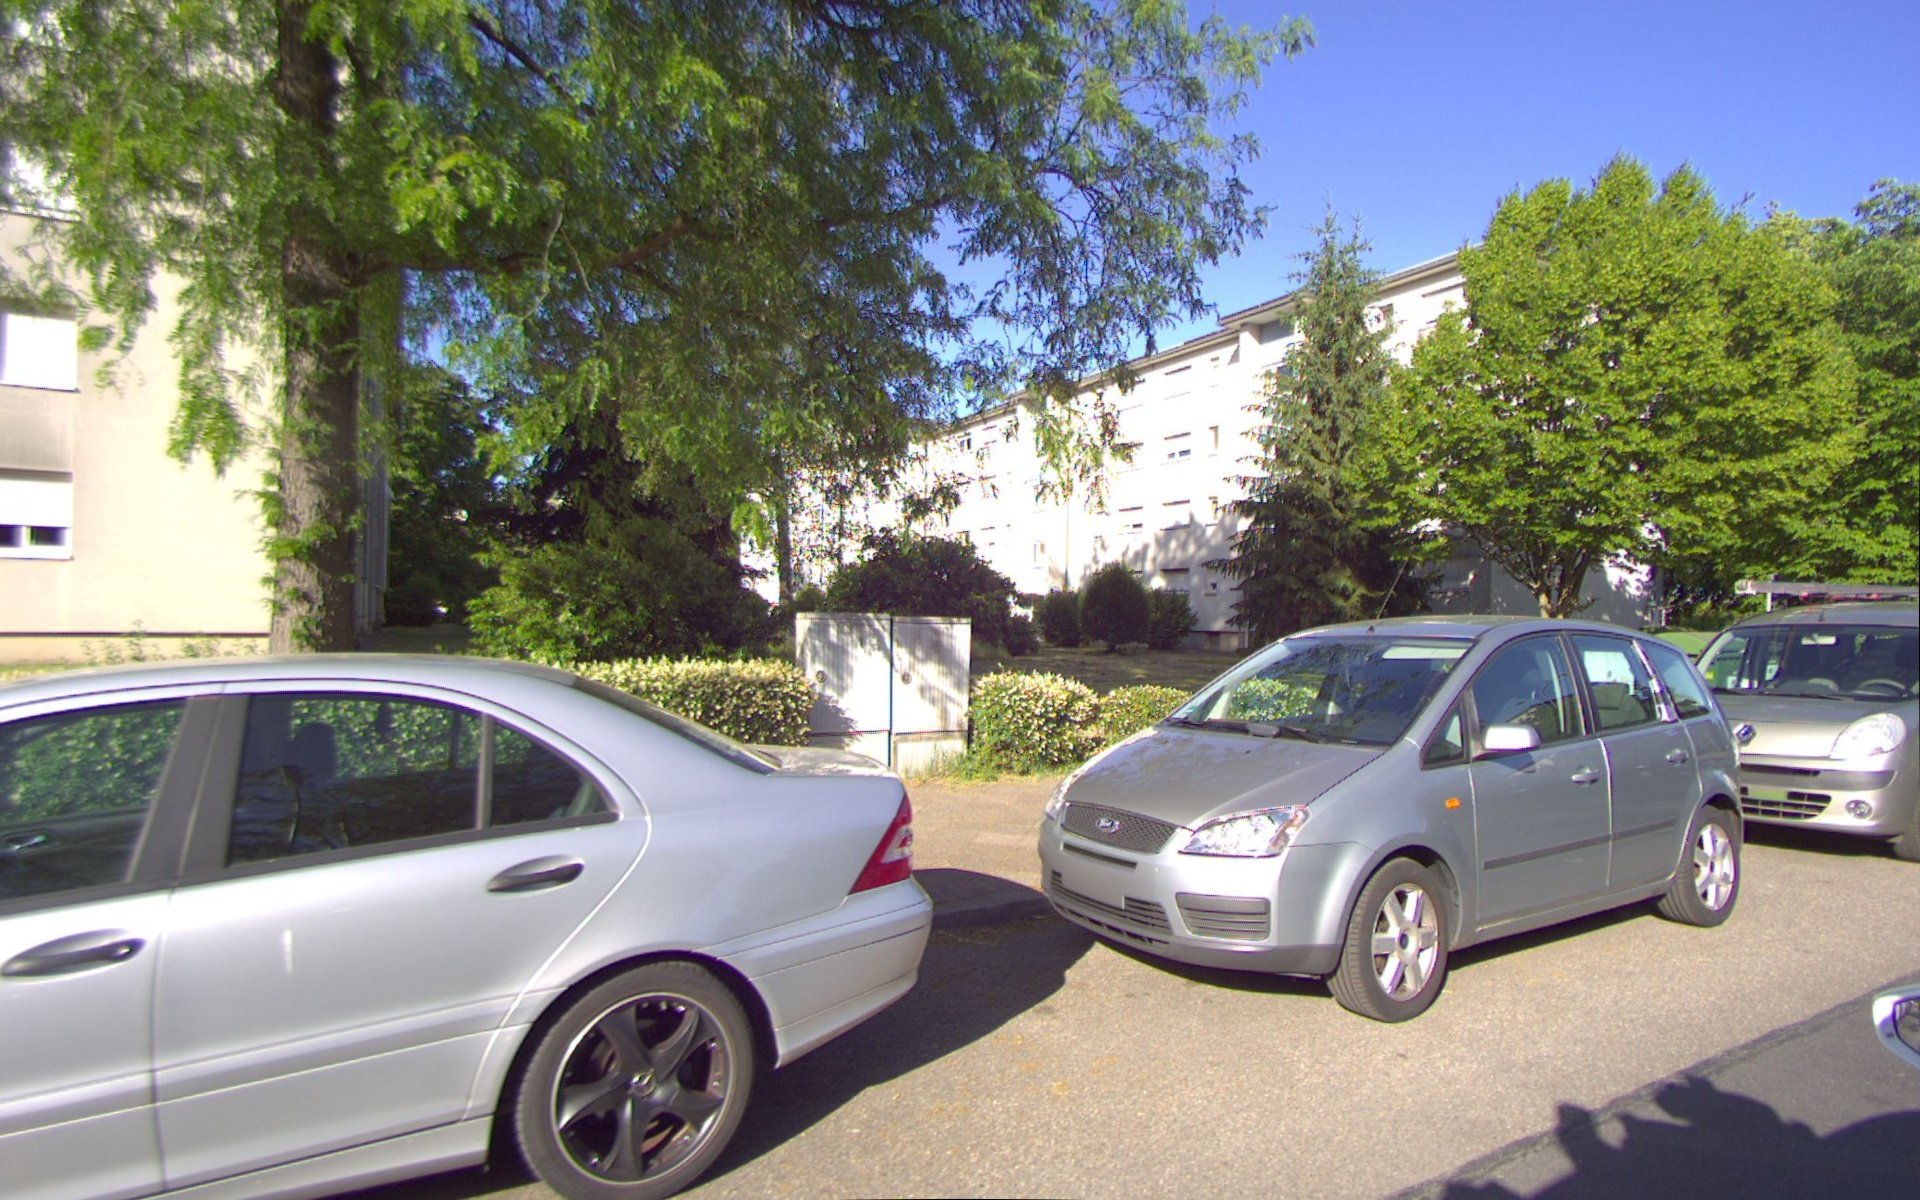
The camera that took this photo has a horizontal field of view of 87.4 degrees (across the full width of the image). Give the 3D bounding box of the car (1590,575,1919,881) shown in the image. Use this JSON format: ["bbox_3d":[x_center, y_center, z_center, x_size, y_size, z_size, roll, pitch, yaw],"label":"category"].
[{"bbox_3d":[7.283,0.875,8.257,4.369,1.917,1.845,1,-2,-32],"label":"car"}]

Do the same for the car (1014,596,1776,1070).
[{"bbox_3d":[2.375,0.879,5.237,3.941,1.621,1.701,1,-3,-32],"label":"car"}]

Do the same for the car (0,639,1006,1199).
[{"bbox_3d":[-2.195,0.857,2.691,4.473,1.484,1.678,1,-3,-31],"label":"car"}]

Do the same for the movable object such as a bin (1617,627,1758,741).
[{"bbox_3d":[10.237,1.143,14.153,1.344,1.440,1.096,1,2,-29],"label":"movable object such as a bin"}]
